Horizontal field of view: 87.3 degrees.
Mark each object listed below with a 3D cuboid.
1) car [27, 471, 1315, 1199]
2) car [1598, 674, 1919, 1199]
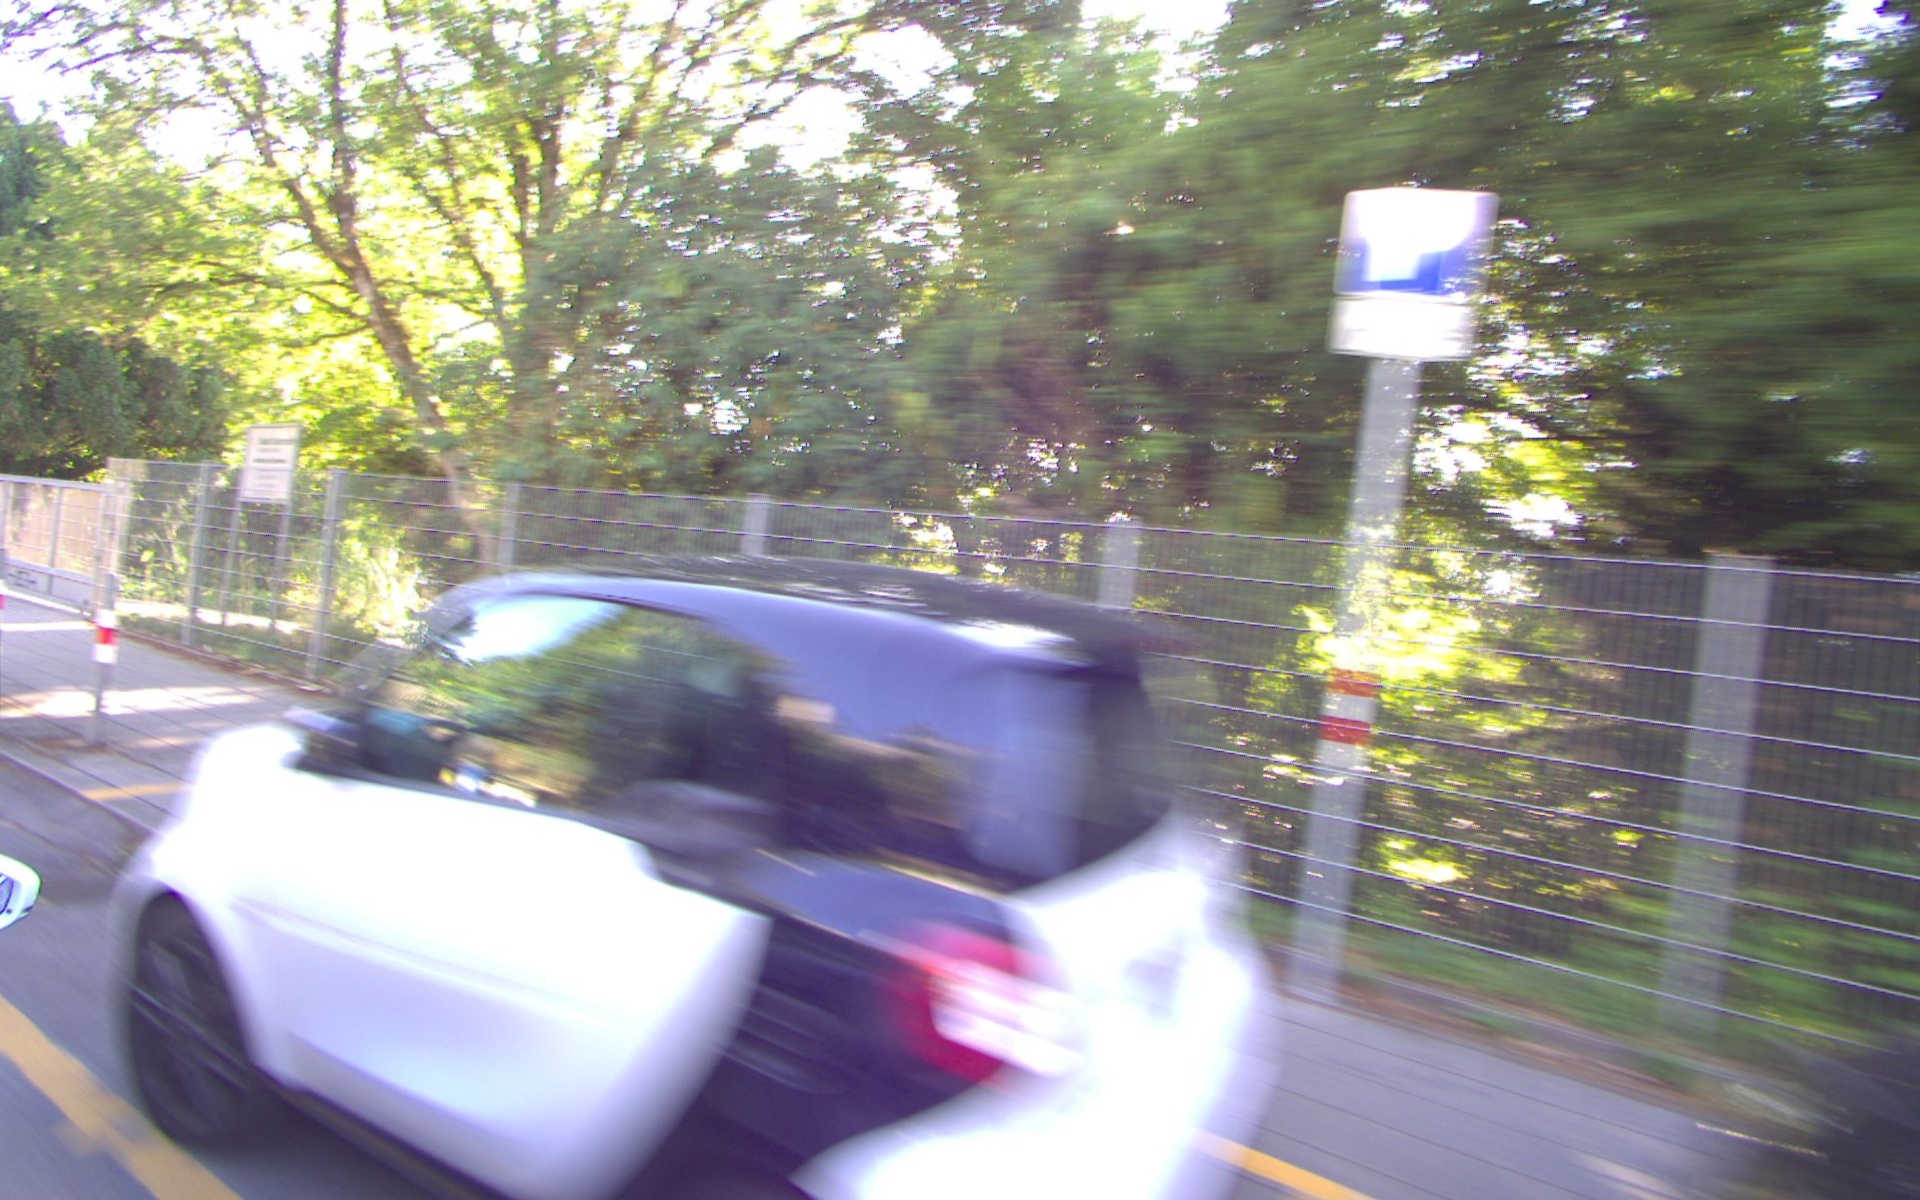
[{"bbox_3d":[-0.751,0.620,2.675,2.852,1.530,1.627,8,2,27],"label":"car"},{"bbox_3d":[3.110,1.150,0.414,4.736,1.515,1.713,7,-2,33],"label":"car"}]
